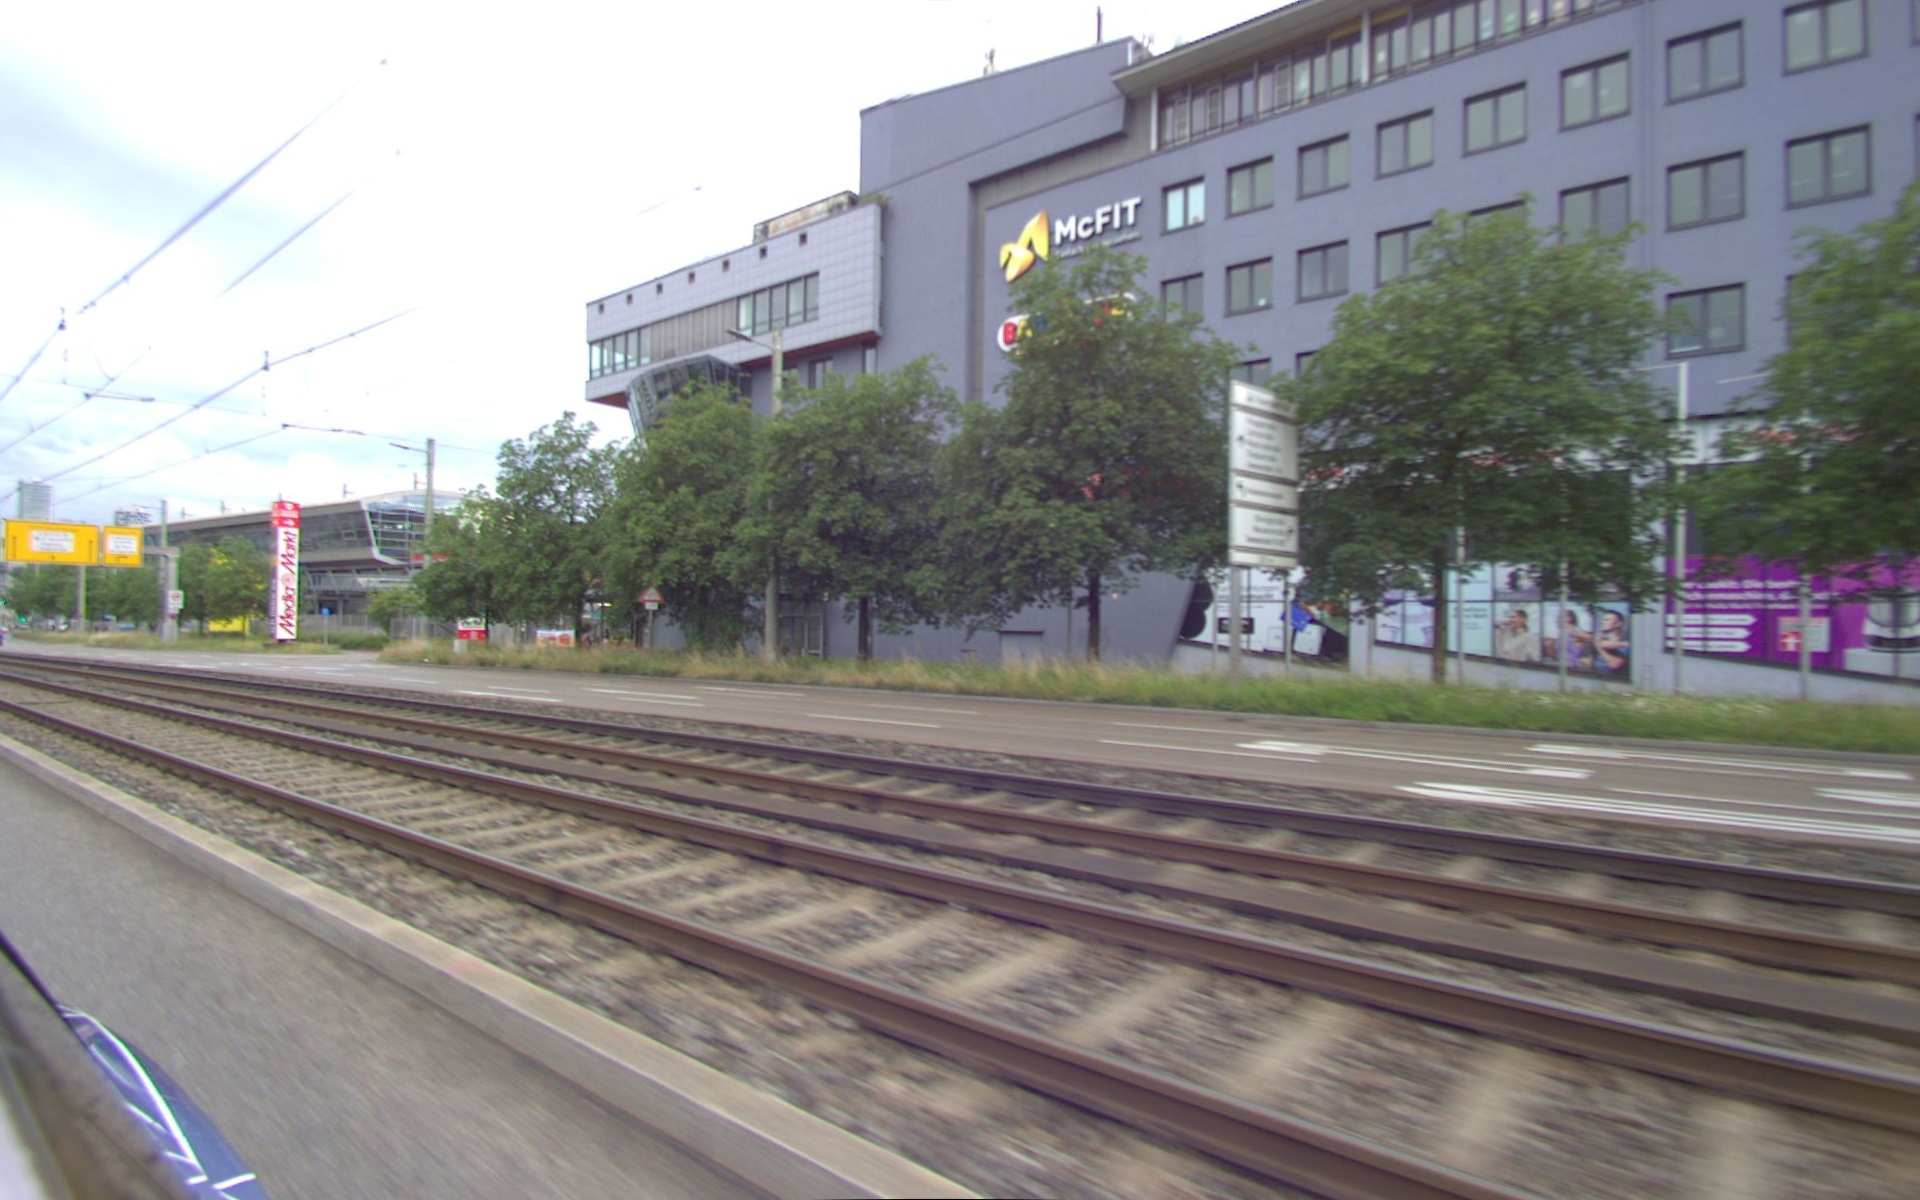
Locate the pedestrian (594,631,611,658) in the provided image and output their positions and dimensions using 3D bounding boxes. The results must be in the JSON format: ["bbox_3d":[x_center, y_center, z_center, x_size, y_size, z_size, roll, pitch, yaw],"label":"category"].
[{"bbox_3d":[-22.266,2.775,63.110,0.578,1.692,0.802,-1,-3,28],"label":"pedestrian"}]

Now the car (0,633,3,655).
[{"bbox_3d":[-78.439,3.525,81.114,4.207,1.749,1.974,-3,-5,39],"label":"car"}]

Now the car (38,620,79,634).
[{"bbox_3d":[-157.626,4.688,177.021,1.987,2.350,5.026,-1,-2,22],"label":"car"}]
